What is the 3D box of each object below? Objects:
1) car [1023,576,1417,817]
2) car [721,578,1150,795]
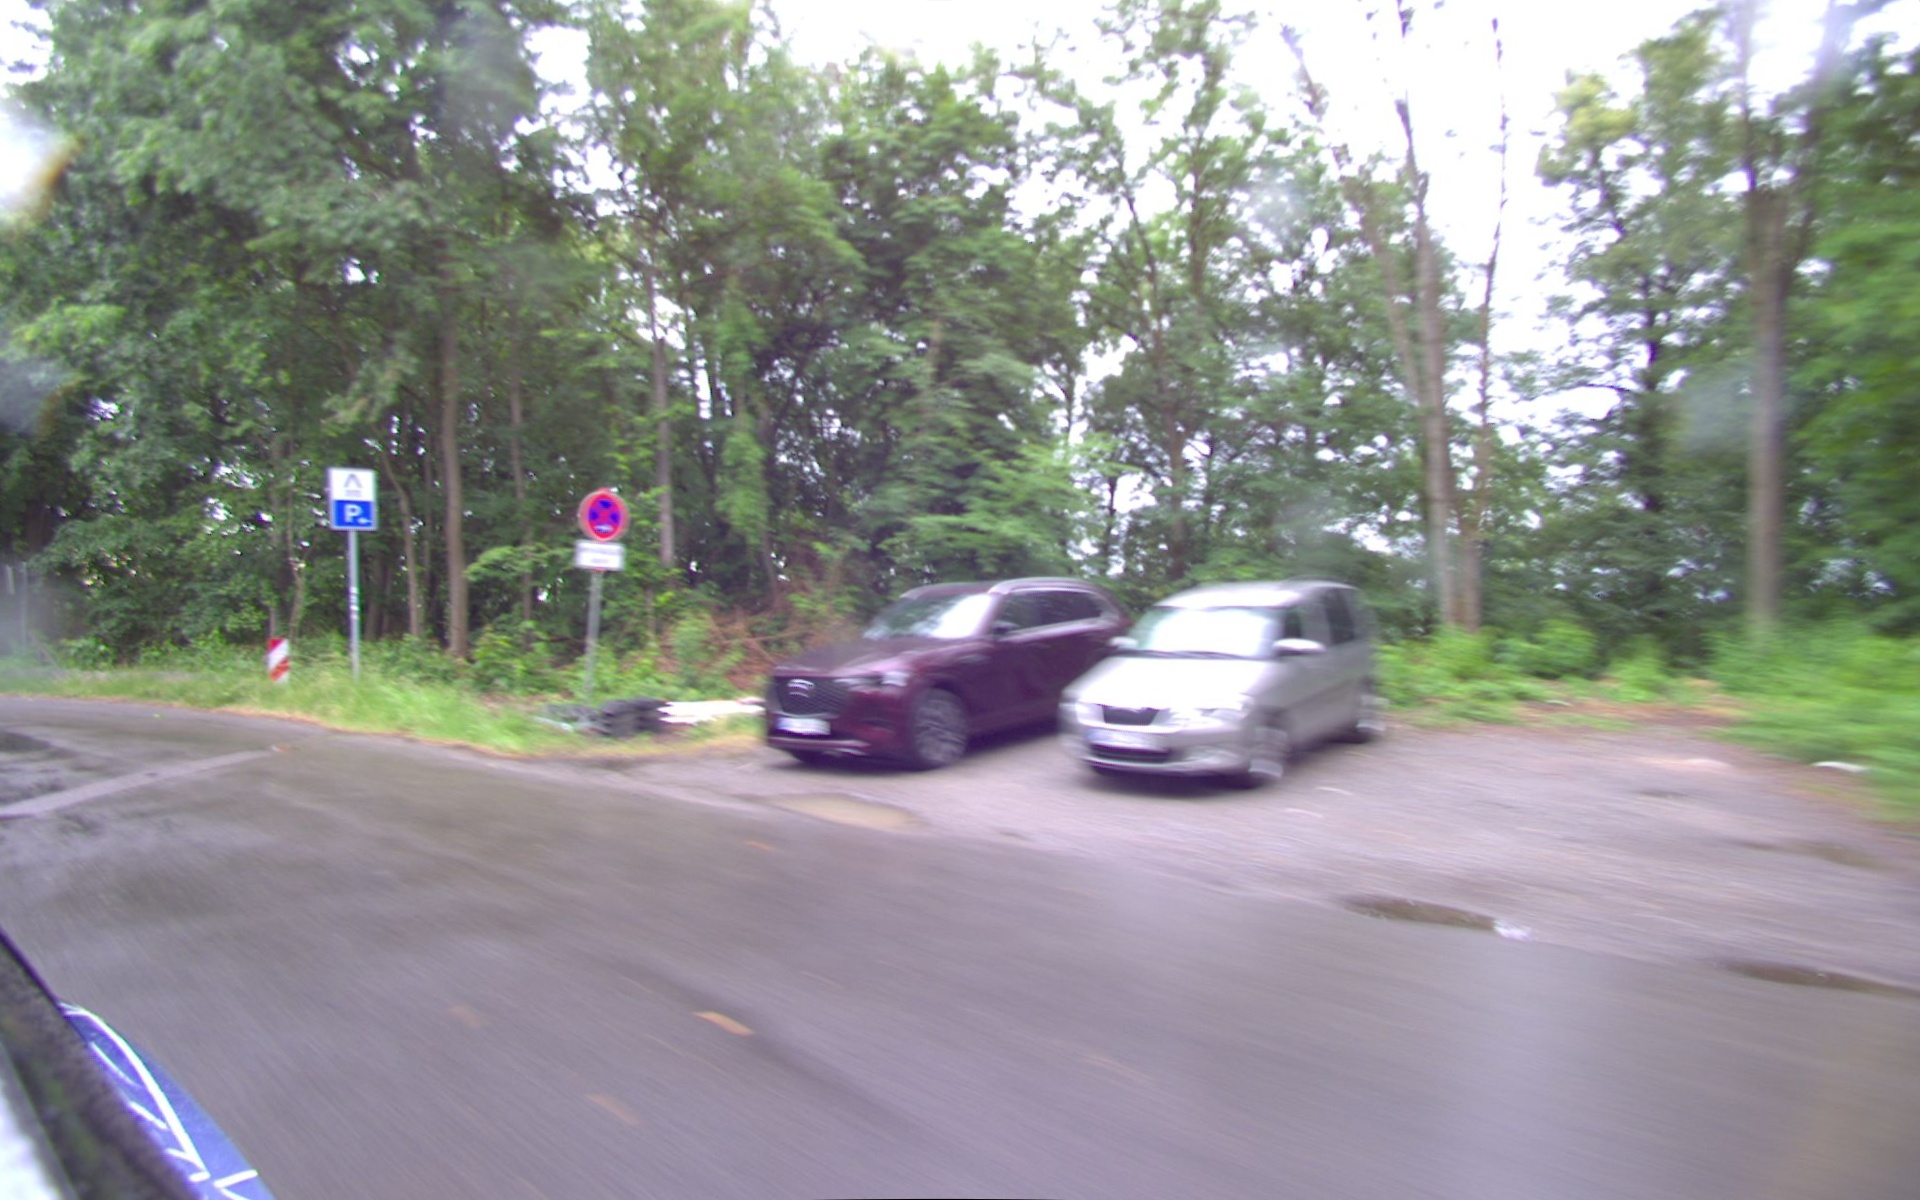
[{"bbox_3d":[2.508,0.643,8.988,1.772,1.566,4.095,-3,0,40],"label":"car"},{"bbox_3d":[0.014,0.692,10.673,1.874,1.690,4.779,-3,0,38],"label":"car"}]
